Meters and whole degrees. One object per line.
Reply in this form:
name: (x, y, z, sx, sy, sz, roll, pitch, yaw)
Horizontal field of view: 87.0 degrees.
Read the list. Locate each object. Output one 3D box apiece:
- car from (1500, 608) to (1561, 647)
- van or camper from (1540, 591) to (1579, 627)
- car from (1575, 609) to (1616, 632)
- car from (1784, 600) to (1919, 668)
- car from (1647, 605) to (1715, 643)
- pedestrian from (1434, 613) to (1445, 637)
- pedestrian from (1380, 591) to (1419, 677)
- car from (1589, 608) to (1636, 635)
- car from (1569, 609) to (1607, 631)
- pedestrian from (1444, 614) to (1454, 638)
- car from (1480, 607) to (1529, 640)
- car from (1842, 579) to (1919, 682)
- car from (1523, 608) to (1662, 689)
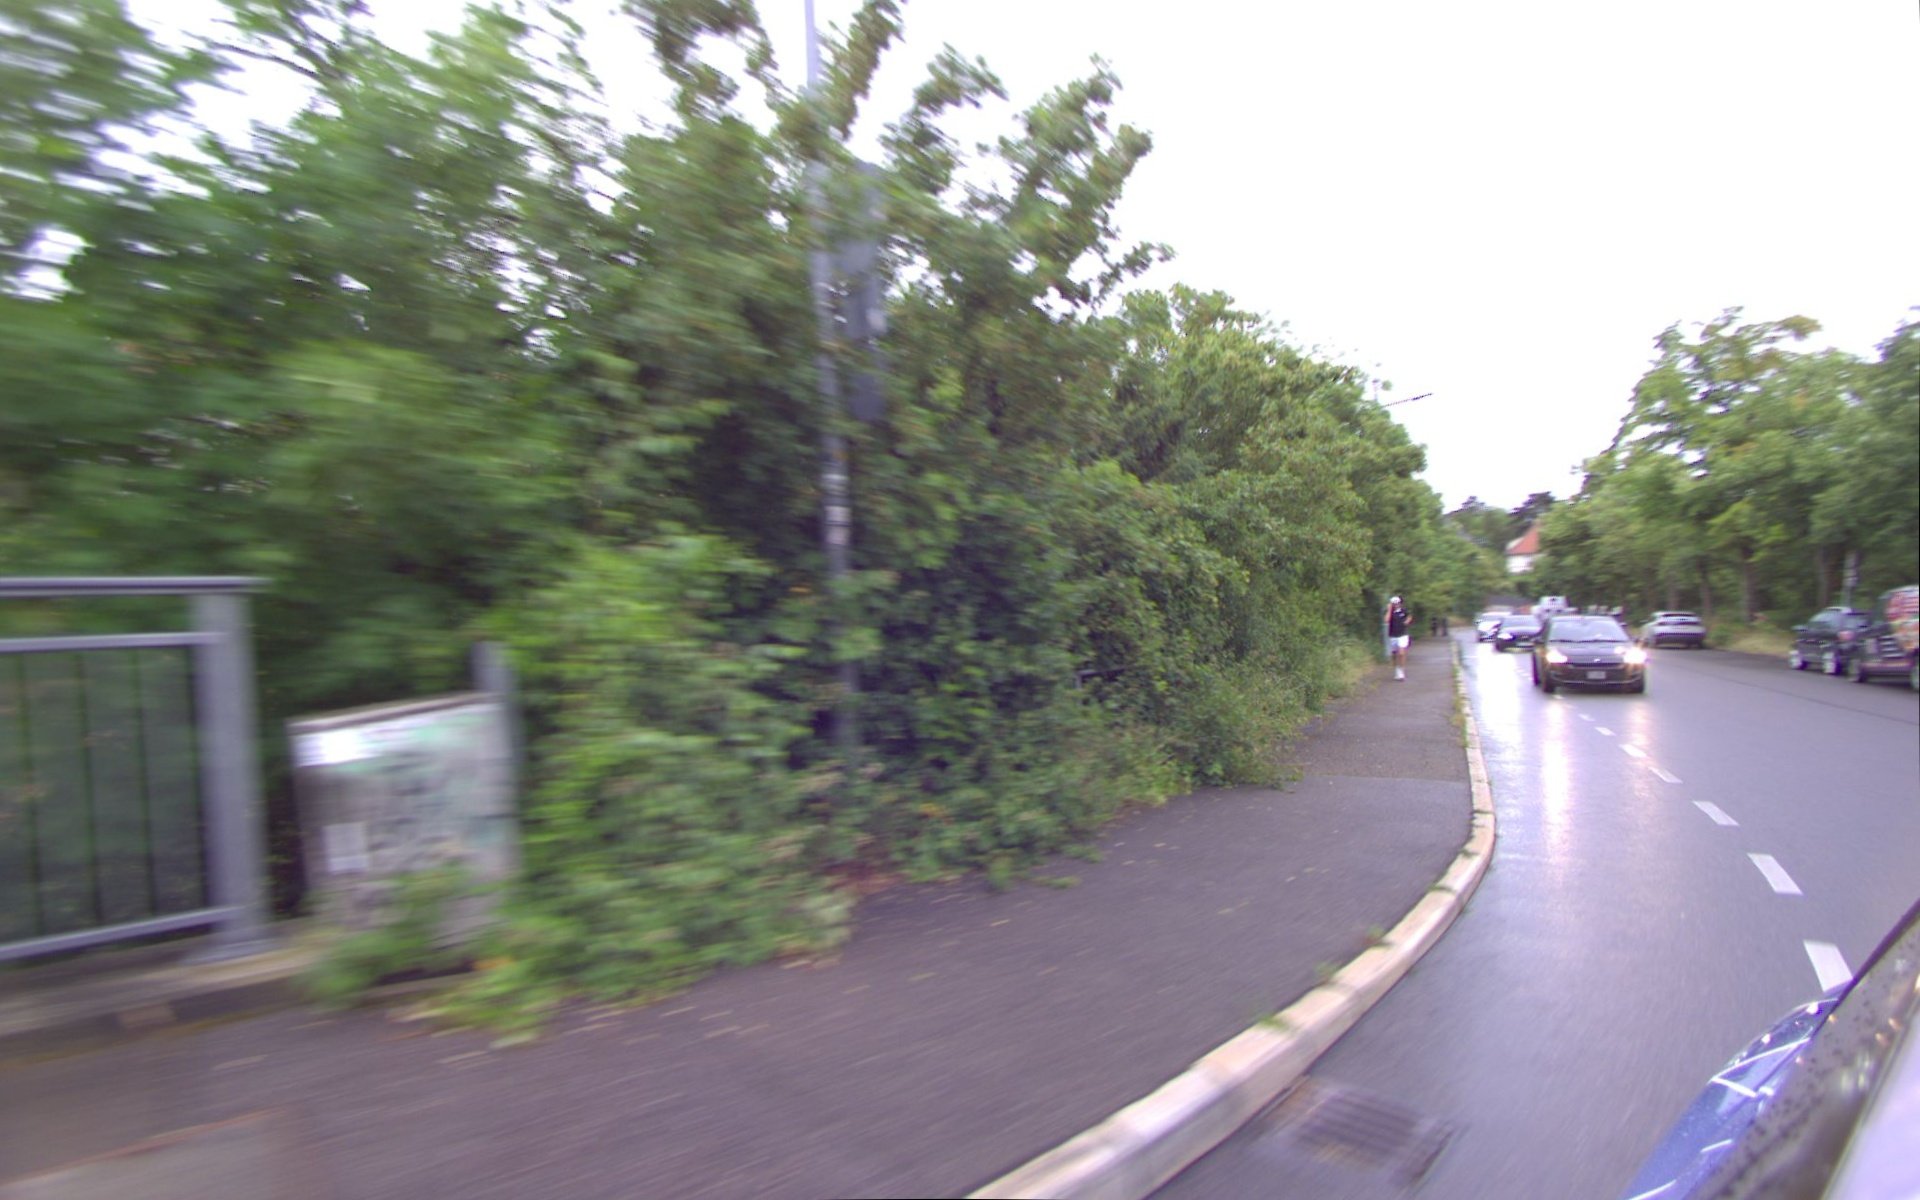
car: (23.225, 1.088, 41.338, 2.013, 1.482, 3.960, -3, -2, 28)
van or camper: (53.915, 0.788, 91.093, 2.489, 3.065, 6.500, -1, 0, 27)
car: (42.147, 1.339, 67.164, 1.982, 1.423, 4.666, 0, 0, 29)
car: (21.129, 0.742, 23.714, 1.784, 1.456, 4.219, -1, -1, 25)
car: (29.425, 0.968, 41.406, 1.678, 1.456, 4.213, -1, -1, 28)
pedestrian: (32.772, 1.713, 69.204, 0.593, 1.585, 0.661, 1, 2, 35)
pedestrian: (9.811, 0.736, 22.575, 0.712, 1.858, 1.011, 0, -1, 28)
car: (37.643, 1.225, 58.492, 1.742, 1.420, 4.379, -1, -1, 26)
car: (44.333, 1.398, 71.543, 1.982, 1.423, 4.666, 0, 0, 29)
pedestrian: (33.259, 1.735, 68.834, 0.550, 1.586, 0.481, 1, 1, 34)
car: (29.231, 1.246, 54.253, 2.016, 1.650, 4.179, -2, -1, 32)
car: (18.557, 0.523, 18.714, 2.070, 1.842, 5.330, -1, -1, 27)
car: (12.525, 0.894, 20.295, 1.786, 1.445, 4.345, -1, -1, 25)
